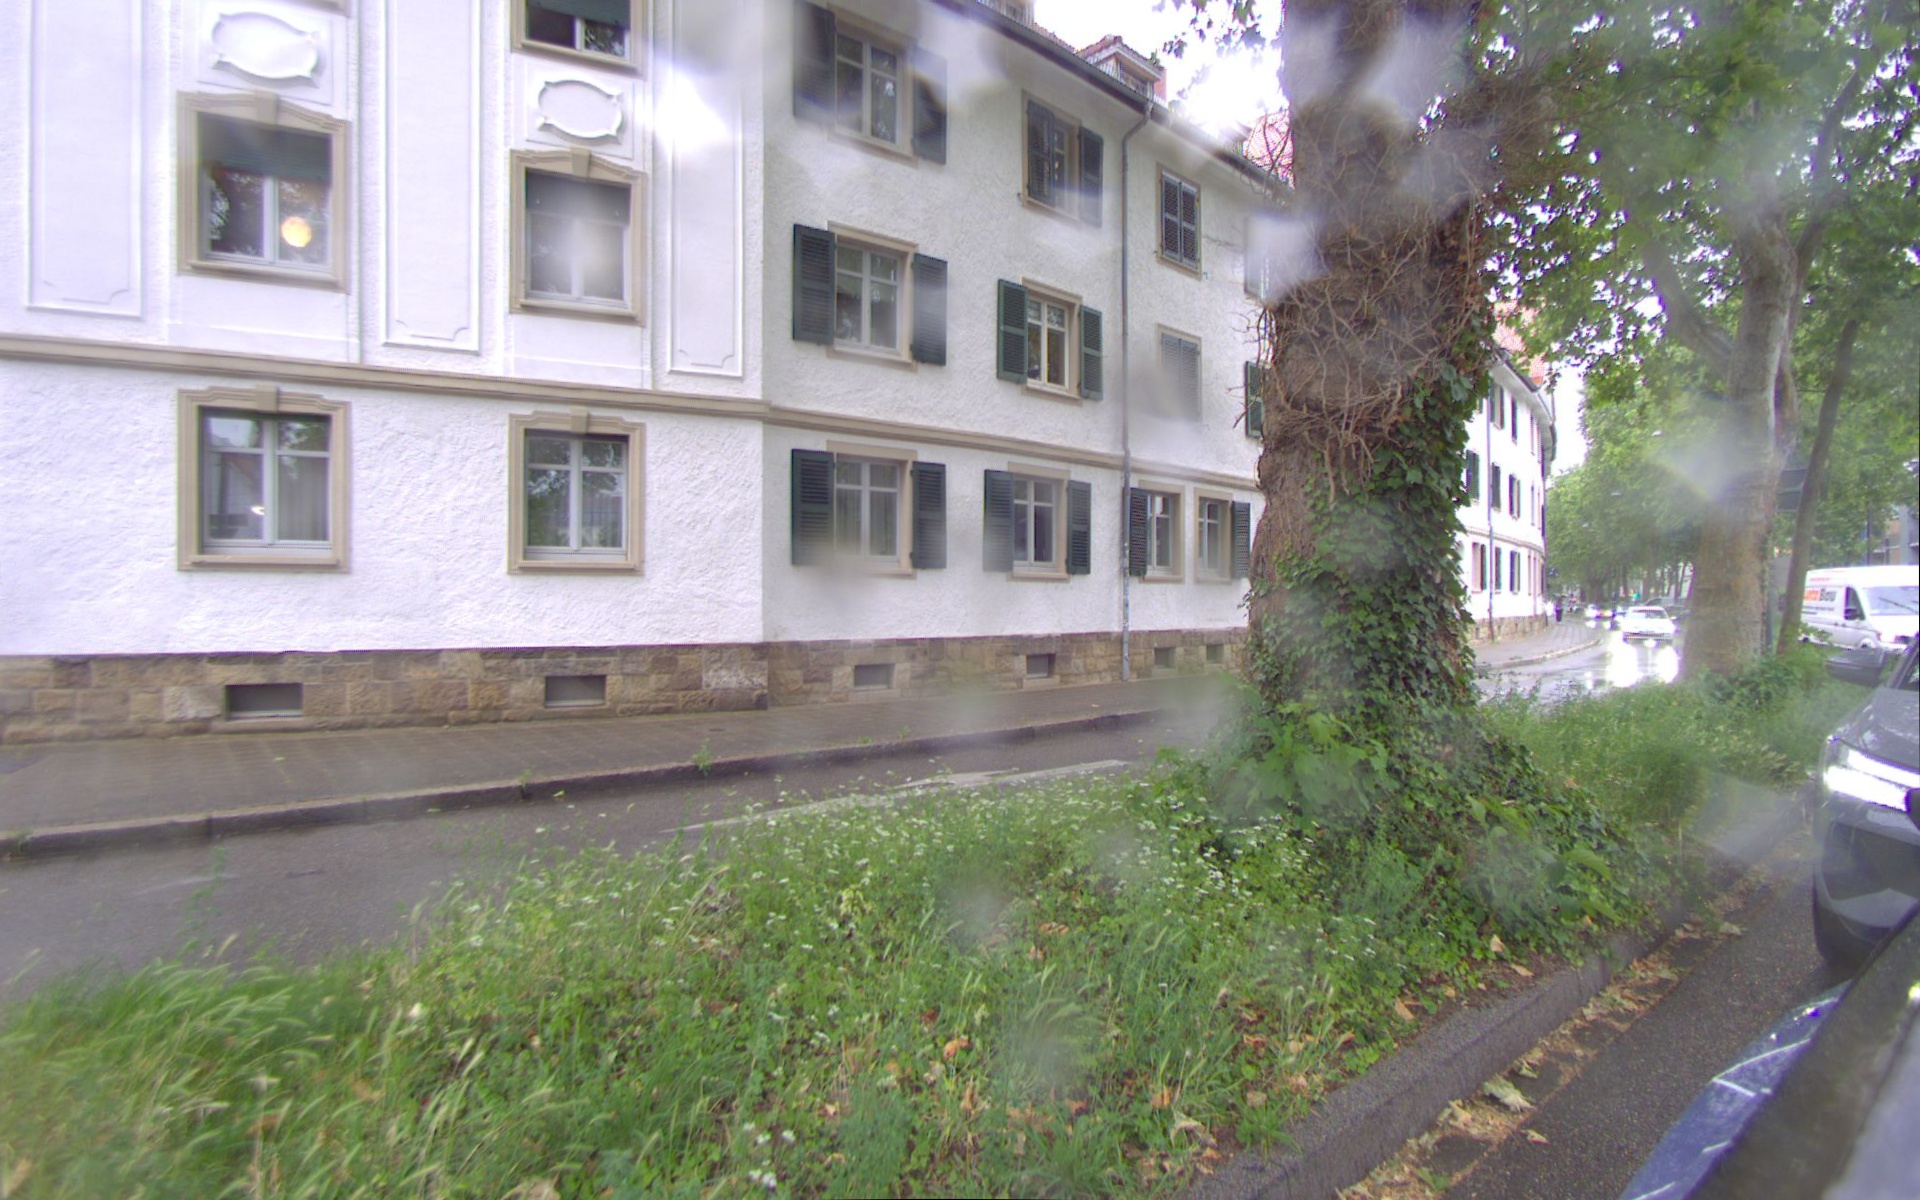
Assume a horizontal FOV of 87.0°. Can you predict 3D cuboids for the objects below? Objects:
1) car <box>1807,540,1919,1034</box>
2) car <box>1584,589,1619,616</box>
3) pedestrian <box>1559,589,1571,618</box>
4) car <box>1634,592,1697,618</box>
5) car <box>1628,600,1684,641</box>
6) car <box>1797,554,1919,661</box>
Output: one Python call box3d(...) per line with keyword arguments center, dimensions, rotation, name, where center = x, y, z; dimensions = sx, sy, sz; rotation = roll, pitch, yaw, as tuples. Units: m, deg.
box3d(center=(5.143, 0.618, 4.311), dimensions=(4.039, 1.662, 1.913), rotation=(0, 0, -44), name="car")
box3d(center=(52.976, 0.165, 83.612), dimensions=(1.983, 2.038, 3.961), rotation=(5, 3, 28), name="car")
box3d(center=(38.245, 0.228, 63.983), dimensions=(0.668, 1.845, 0.672), rotation=(0, 0, 31), name="pedestrian")
box3d(center=(55.920, 0.385, 80.288), dimensions=(3.969, 2.039, 1.977), rotation=(0, -1, 32), name="car")
box3d(center=(28.686, 0.806, 41.661), dimensions=(1.821, 1.545, 3.948), rotation=(0, 0, 36), name="car")
box3d(center=(22.133, 0.156, 23.969), dimensions=(2.173, 2.292, 5.366), rotation=(0, 0, 24), name="car")
